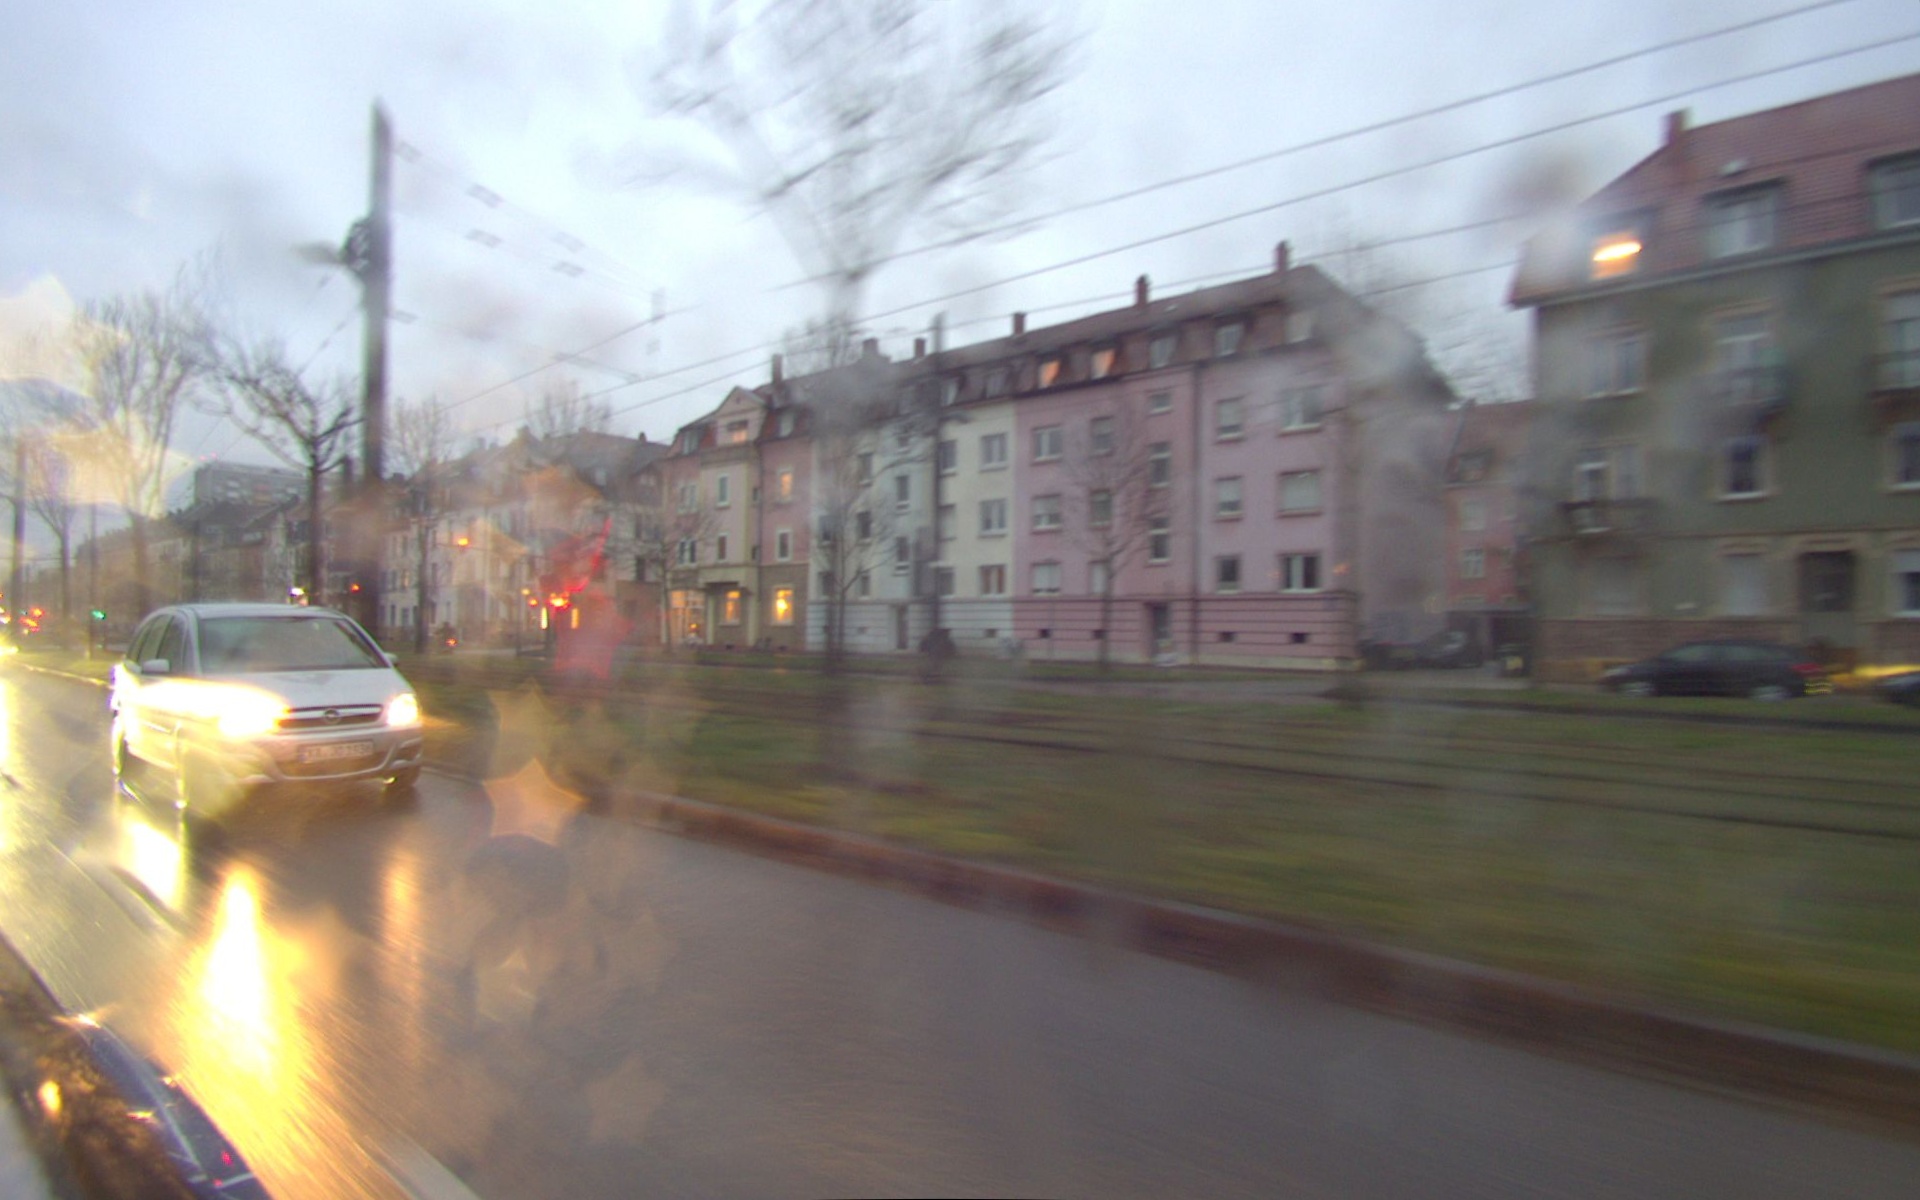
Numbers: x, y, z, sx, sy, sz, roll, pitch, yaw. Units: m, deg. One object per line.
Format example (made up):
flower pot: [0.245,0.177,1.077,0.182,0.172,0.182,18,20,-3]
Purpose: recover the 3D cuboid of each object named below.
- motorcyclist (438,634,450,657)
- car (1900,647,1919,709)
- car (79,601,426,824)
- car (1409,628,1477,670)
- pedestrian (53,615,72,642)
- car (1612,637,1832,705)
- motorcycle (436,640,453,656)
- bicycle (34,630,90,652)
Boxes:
motorcyclist: [-24.111,2.131,47.297,0.410,1.069,0.346,0,-1,-42]
car: [21.090,1.576,19.757,3.894,1.177,1.218,-1,0,38]
car: [-6.338,0.799,8.895,3.905,1.531,1.617,-1,0,41]
car: [19.779,1.952,41.363,1.611,1.555,3.317,-1,0,42]
pedestrian: [-38.768,1.235,43.722,0.582,1.165,0.555,-1,-1,43]
car: [17.485,1.575,23.336,3.911,1.350,1.449,-1,0,44]
motorcycle: [-24.052,2.230,47.217,0.416,0.688,1.177,0,0,-42]
bicycle: [-38.793,1.780,43.723,0.733,0.905,1.703,0,-4,41]
